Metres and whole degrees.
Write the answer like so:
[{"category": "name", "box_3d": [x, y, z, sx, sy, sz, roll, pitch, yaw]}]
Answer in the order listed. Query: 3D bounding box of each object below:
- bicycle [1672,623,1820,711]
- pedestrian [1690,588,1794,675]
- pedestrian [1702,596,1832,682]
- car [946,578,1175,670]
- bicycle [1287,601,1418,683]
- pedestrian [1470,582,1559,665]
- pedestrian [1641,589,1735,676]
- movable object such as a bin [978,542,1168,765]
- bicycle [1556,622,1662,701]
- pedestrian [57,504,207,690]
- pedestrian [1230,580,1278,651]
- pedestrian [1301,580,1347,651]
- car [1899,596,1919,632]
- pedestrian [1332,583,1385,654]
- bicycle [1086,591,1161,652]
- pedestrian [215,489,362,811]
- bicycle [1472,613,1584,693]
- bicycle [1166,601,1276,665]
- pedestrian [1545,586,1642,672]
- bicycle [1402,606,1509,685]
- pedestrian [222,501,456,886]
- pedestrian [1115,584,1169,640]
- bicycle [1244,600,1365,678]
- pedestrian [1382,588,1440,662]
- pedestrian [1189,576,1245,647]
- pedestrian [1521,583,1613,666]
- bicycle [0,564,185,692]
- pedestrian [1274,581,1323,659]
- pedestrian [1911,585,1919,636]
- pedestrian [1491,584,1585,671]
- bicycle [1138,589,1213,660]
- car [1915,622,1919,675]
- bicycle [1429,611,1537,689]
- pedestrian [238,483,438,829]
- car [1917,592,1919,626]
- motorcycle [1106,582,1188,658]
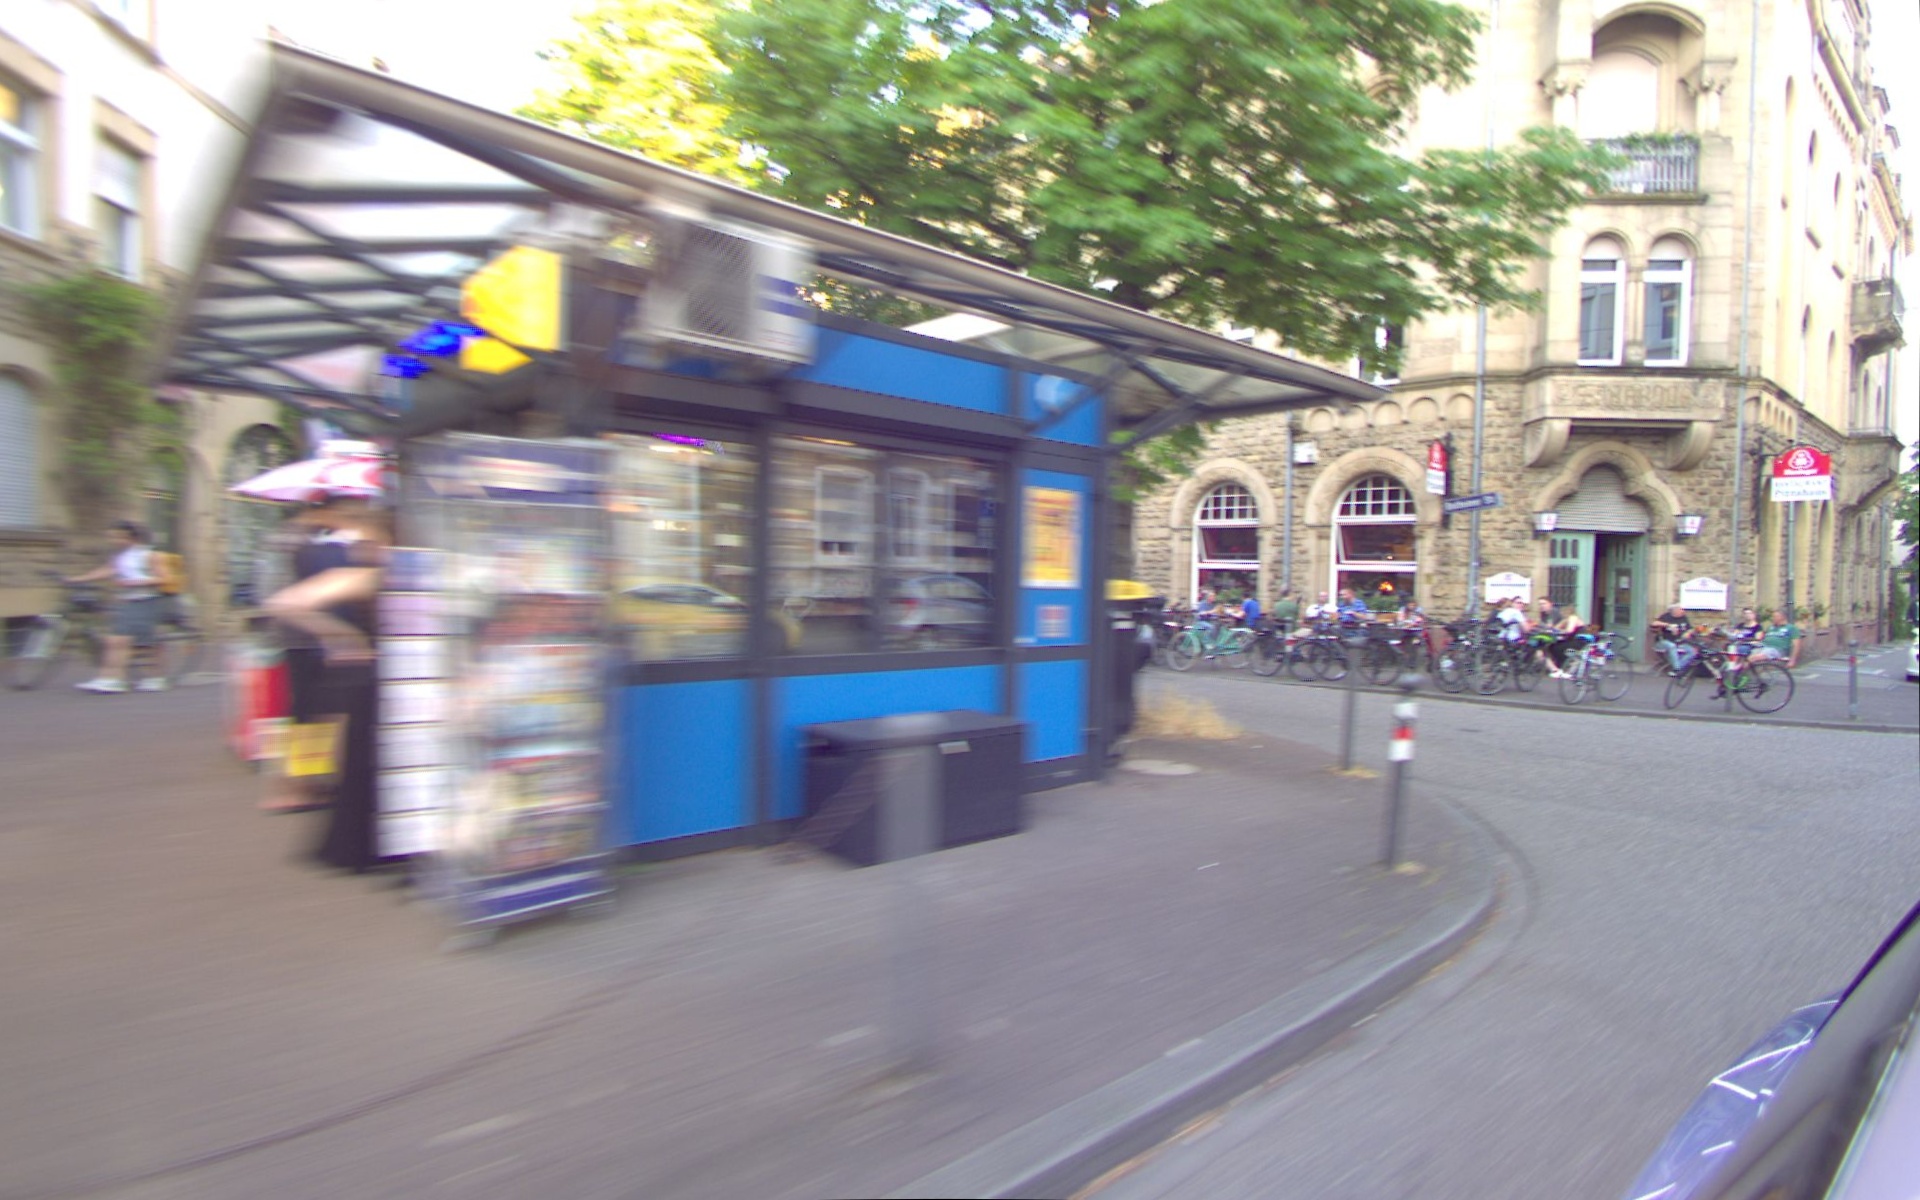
[{"category": "bicycle", "box_3d": [10.148, 0.857, 13.094, 1.450, 1.052, 0.431, 1, 1, 8]}, {"category": "pedestrian", "box_3d": [13.691, 0.543, 17.738, 1.081, 1.413, 0.843, 3, 2, -9]}, {"category": "pedestrian", "box_3d": [13.470, 0.629, 16.928, 1.394, 1.301, 0.840, 2, 2, 6]}, {"category": "car", "box_3d": [1.732, 0.349, 18.530, 1.851, 1.401, 4.033, 0, 2, -39]}, {"category": "bicycle", "box_3d": [6.130, 0.633, 15.874, 1.823, 1.165, 0.551, 2, 1, 35]}, {"category": "pedestrian", "box_3d": [9.826, 0.404, 17.962, 1.083, 1.413, 0.842, 0, 2, 0]}, {"category": "pedestrian", "box_3d": [12.653, 0.544, 17.635, 0.881, 1.414, 1.010, 2, 1, 6]}, {"category": "movable object such as a bin", "box_3d": [0.817, 0.342, 7.633, 0.750, 1.493, 1.227, 1, 4, -32]}, {"category": "bicycle", "box_3d": [8.812, 0.811, 13.716, 1.671, 0.991, 0.448, 0, 1, -29]}, {"category": "pedestrian", "box_3d": [-8.531, -0.051, 10.491, 0.960, 1.810, 1.008, 0, 2, -24]}, {"category": "pedestrian", "box_3d": [6.057, 0.303, 20.879, 0.757, 1.413, 0.618, -1, 3, -38]}, {"category": "pedestrian", "box_3d": [7.255, 0.293, 20.158, 0.591, 1.375, 0.725, 2, 1, 45]}, {"category": "car", "box_3d": [42.198, 0.654, 42.188, 1.792, 1.470, 4.297, 0, 2, -42]}, {"category": "pedestrian", "box_3d": [7.727, 0.341, 19.607, 0.656, 1.337, 0.730, 0, 1, -45]}, {"category": "bicycle", "box_3d": [3.344, 0.416, 20.605, 0.544, 1.175, 1.805, 2, 1, 45]}, {"category": "pedestrian", "box_3d": [-3.750, 0.245, 5.641, 0.581, 1.657, 0.677, 0, 2, -43]}, {"category": "bicycle", "box_3d": [8.195, 0.736, 14.587, 1.797, 1.080, 0.514, 1, 1, -29]}, {"category": "bicycle", "box_3d": [4.669, 0.590, 18.140, 1.796, 1.091, 0.592, 1, 1, -11]}, {"category": "pedestrian", "box_3d": [10.786, 0.480, 17.267, 1.083, 1.413, 0.842, 0, 2, -1]}, {"category": "bicycle", "box_3d": [7.550, 0.673, 15.395, 1.797, 1.125, 0.504, 1, 1, -29]}, {"category": "pedestrian", "box_3d": [-2.722, 0.363, 4.468, 0.669, 1.558, 0.587, 1, 1, 18]}, {"category": "pedestrian", "box_3d": [4.197, 0.269, 23.365, 0.809, 1.242, 0.924, 0, 1, -45]}, {"category": "bicycle", "box_3d": [5.726, 0.624, 16.875, 1.823, 1.176, 0.532, 2, 1, 35]}, {"category": "pedestrian", "box_3d": [8.318, 0.445, 18.657, 0.704, 1.298, 0.864, 2, 1, 44]}, {"category": "pedestrian", "box_3d": [5.458, 0.232, 21.503, 0.703, 1.443, 0.900, 0, 1, -45]}, {"category": "pedestrian", "box_3d": [10.767, 0.425, 17.973, 1.083, 1.413, 0.842, 0, 2, -1]}, {"category": "bicycle", "box_3d": [-9.167, 0.238, 10.667, 0.623, 1.202, 1.916, 1, 2, -3]}, {"category": "pedestrian", "box_3d": [6.447, 0.360, 19.264, 0.710, 1.422, 0.785, 2, 1, 32]}, {"category": "pedestrian", "box_3d": [34.104, 0.387, 35.533, 0.818, 1.788, 0.852, 1, 2, -38]}, {"category": "pedestrian", "box_3d": [9.834, 0.450, 17.255, 1.083, 1.413, 0.842, 0, 2, 0]}, {"category": "bicycle", "box_3d": [4.113, 0.434, 19.216, 0.582, 1.278, 1.808, 2, 1, 40]}, {"category": "car", "box_3d": [19.582, 0.693, 18.930, 4.381, 1.502, 1.769, 1, 4, -38]}, {"category": "bicycle", "box_3d": [7.694, 0.710, 14.868, 1.797, 1.083, 0.477, 1, 1, -29]}, {"category": "pedestrian", "box_3d": [-3.195, 0.254, 5.222, 0.669, 1.657, 0.587, 1, 1, 18]}, {"category": "car", "box_3d": [46.775, 0.493, 46.212, 1.792, 1.547, 4.297, 0, 2, -42]}, {"category": "motorcycle", "box_3d": [3.671, 0.355, 19.732, 0.637, 1.369, 1.972, 2, 3, 42]}]
